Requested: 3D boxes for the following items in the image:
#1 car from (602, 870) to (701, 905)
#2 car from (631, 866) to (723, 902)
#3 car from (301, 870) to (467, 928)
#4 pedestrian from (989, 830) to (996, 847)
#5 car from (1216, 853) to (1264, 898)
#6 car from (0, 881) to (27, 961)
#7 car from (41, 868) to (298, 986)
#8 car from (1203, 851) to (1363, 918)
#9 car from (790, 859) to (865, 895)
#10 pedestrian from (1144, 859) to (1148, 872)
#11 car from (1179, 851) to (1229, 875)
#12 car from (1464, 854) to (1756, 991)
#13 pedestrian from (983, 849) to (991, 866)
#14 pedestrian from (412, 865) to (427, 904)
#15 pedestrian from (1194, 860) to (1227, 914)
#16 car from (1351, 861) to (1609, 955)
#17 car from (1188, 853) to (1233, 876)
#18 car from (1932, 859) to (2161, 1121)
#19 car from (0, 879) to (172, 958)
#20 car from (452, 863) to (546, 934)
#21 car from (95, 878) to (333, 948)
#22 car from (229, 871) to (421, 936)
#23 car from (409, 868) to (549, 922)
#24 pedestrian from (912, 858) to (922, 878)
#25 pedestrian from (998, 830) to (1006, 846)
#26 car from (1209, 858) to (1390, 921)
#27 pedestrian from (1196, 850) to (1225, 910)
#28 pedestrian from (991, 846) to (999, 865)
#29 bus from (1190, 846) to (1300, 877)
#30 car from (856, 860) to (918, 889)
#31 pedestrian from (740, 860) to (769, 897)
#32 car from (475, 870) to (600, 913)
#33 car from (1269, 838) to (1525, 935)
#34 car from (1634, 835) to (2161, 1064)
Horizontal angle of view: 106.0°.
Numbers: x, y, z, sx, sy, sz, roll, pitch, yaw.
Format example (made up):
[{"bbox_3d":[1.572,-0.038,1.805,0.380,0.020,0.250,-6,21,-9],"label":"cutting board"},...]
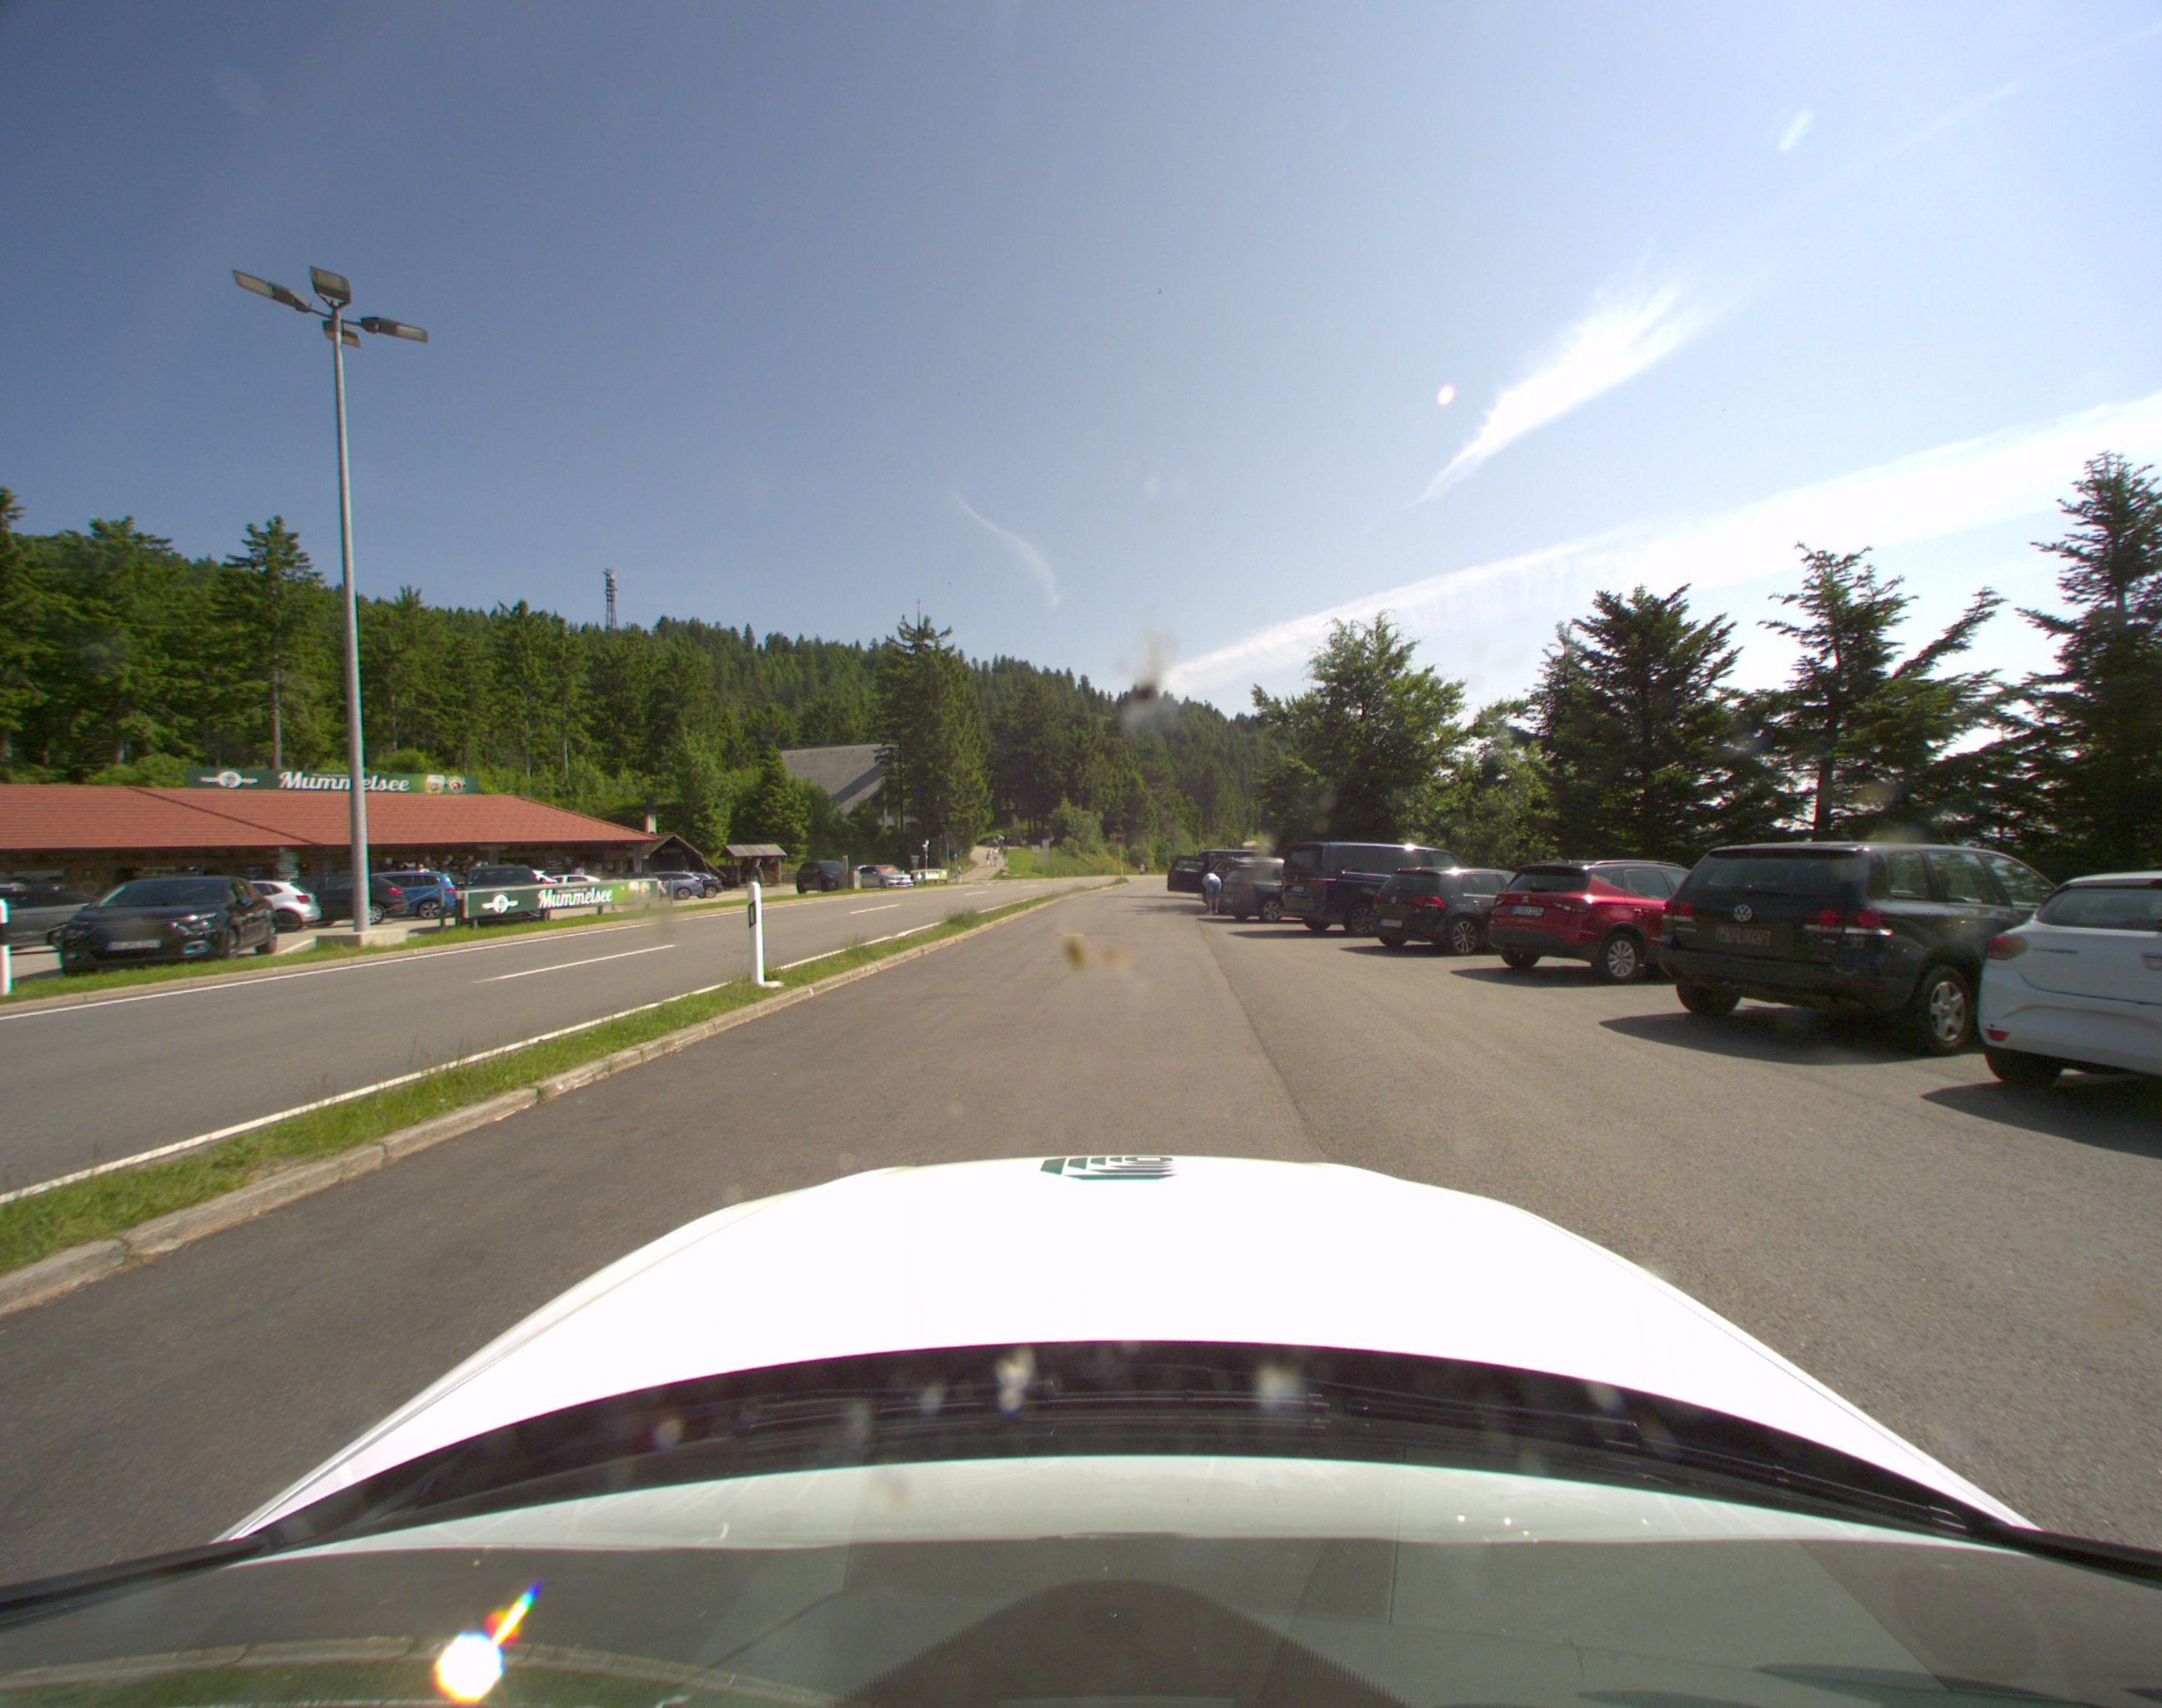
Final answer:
[{"bbox_3d":[-21.086,1.632,40.020,4.019,1.419,1.665,-3,-1,-38],"label":"car"},{"bbox_3d":[-21.272,1.554,42.922,4.018,1.618,1.978,-3,1,-37],"label":"car"},{"bbox_3d":[-22.983,1.439,27.086,4.020,1.574,1.977,-3,1,-38],"label":"car"},{"bbox_3d":[-11.067,-1.916,101.764,0.795,2.013,0.939,-2,1,-2],"label":"pedestrian"},{"bbox_3d":[7.792,1.014,40.243,1.895,1.972,4.829,3,0,7],"label":"car"},{"bbox_3d":[-23.392,1.428,15.472,3.751,1.588,1.715,-3,1,-38],"label":"car"},{"bbox_3d":[-14.902,1.067,13.619,1.789,1.552,3.959,-2,1,-32],"label":"car"},{"bbox_3d":[5.802,0.875,23.468,4.001,1.662,1.986,4,-2,-21],"label":"car"},{"bbox_3d":[-12.392,1.129,39.690,1.799,1.634,4.159,0,-1,-44],"label":"car"},{"bbox_3d":[8.886,1.594,111.466,0.412,1.747,0.458,-2,1,6],"label":"pedestrian"},{"bbox_3d":[10.175,0.721,67.403,3.966,1.719,1.871,3,1,6],"label":"car"},{"bbox_3d":[7.433,0.845,11.378,4.012,1.590,1.845,1,0,-31],"label":"car"},{"bbox_3d":[-8.921,0.339,77.618,0.650,1.667,0.643,-2,-2,0],"label":"pedestrian"},{"bbox_3d":[-32.656,1.509,40.206,0.531,1.874,0.541,0,-1,-40],"label":"pedestrian"},{"bbox_3d":[3.531,0.882,22.180,0.768,1.402,0.671,-2,1,13],"label":"pedestrian"},{"bbox_3d":[6.877,0.887,14.070,4.001,1.415,1.733,1,0,-21],"label":"car"},{"bbox_3d":[11.828,0.967,74.448,3.964,1.814,1.945,3,2,9],"label":"car"},{"bbox_3d":[7.952,0.811,5.345,3.998,1.476,1.757,1,-1,-18],"label":"car"},{"bbox_3d":[-23.563,1.461,18.172,4.019,1.545,1.878,-3,1,-37],"label":"car"},{"bbox_3d":[-14.695,1.034,20.489,1.748,1.567,4.014,-1,0,-37],"label":"car"},{"bbox_3d":[-22.635,1.472,21.534,4.020,1.420,1.886,-3,1,-38],"label":"car"},{"bbox_3d":[-22.540,1.421,24.531,4.020,1.574,1.977,-3,1,-38],"label":"car"},{"bbox_3d":[-22.396,1.472,30.376,4.052,1.672,1.756,-3,0,-40],"label":"car"},{"bbox_3d":[-13.151,1.112,65.231,0.574,1.532,0.554,-2,1,6],"label":"pedestrian"},{"bbox_3d":[-10.026,-1.980,103.010,0.813,2.013,0.853,-2,1,-2],"label":"pedestrian"},{"bbox_3d":[5.437,0.884,20.410,3.993,1.443,1.831,1,0,-15],"label":"car"},{"bbox_3d":[3.881,0.761,24.401,0.581,1.761,0.628,2,-1,-23],"label":"pedestrian"},{"bbox_3d":[-8.218,0.118,78.237,0.650,1.799,0.643,-1,-1,0],"label":"pedestrian"},{"bbox_3d":[20.052,0.942,99.888,12.746,3.578,2.999,0,1,23],"label":"bus"},{"bbox_3d":[-10.881,1.157,45.565,1.753,1.441,3.923,-3,0,-40],"label":"car"},{"bbox_3d":[-15.886,1.194,39.619,0.891,1.734,0.962,-2,1,6],"label":"pedestrian"},{"bbox_3d":[-22.192,1.508,33.334,4.046,1.468,1.756,-3,0,-40],"label":"car"},{"bbox_3d":[6.629,0.678,17.240,4.761,1.880,1.958,1,0,-13],"label":"car"},{"bbox_3d":[7.713,0.747,7.640,4.270,1.694,1.979,1,0,-18],"label":"car"}]
